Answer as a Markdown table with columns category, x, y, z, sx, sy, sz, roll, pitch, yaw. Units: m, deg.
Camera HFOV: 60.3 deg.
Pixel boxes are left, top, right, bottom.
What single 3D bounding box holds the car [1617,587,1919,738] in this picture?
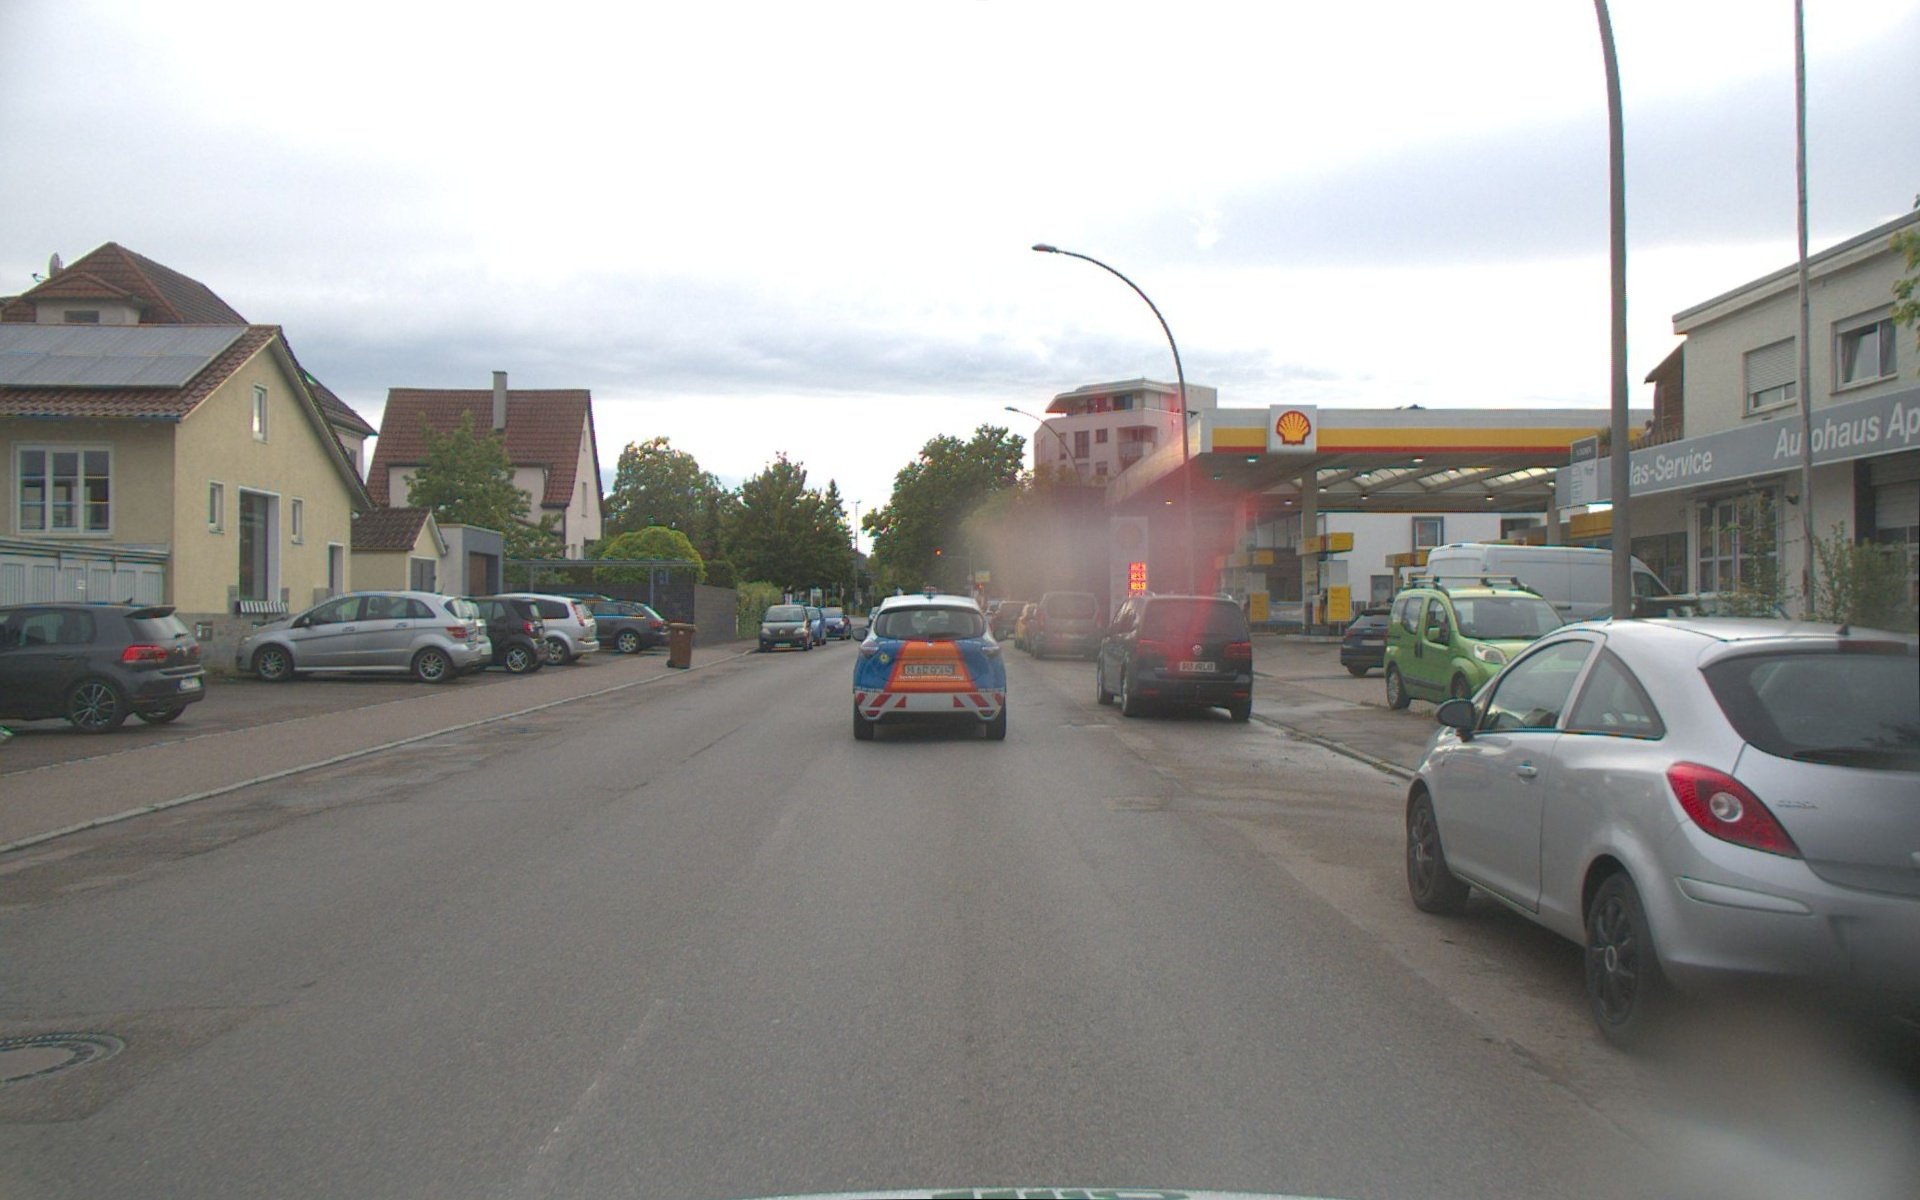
| category | x | y | z | sx | sy | sz | roll | pitch | yaw |
| --- | --- | --- | --- | --- | --- | --- | --- | --- | --- |
| car | 9.667 | 0.674 | 19.952 | 1.713 | 1.546 | 3.728 | -3 | 0 | -4 |

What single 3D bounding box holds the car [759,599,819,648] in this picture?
| category | x | y | z | sx | sy | sz | roll | pitch | yaw |
| --- | --- | --- | --- | --- | --- | --- | --- | --- | --- |
| car | -5.683 | 0.773 | 55.267 | 1.576 | 1.532 | 3.706 | -1 | 0 | 0 |

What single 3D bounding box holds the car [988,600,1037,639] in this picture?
| category | x | y | z | sx | sy | sz | roll | pitch | yaw |
| --- | --- | --- | --- | --- | --- | --- | --- | --- | --- |
| car | 2.410 | 0.878 | 76.688 | 2.048 | 1.691 | 4.558 | 1 | 1 | -1 |

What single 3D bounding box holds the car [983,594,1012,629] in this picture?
| category | x | y | z | sx | sy | sz | roll | pitch | yaw |
| --- | --- | --- | --- | --- | --- | --- | --- | --- | --- |
| car | 2.388 | 0.697 | 104.026 | 1.741 | 2.064 | 4.755 | 1 | 1 | 2 |

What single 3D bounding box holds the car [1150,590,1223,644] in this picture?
| category | x | y | z | sx | sy | sz | roll | pitch | yaw |
| --- | --- | --- | --- | --- | --- | --- | --- | --- | --- |
| car | 7.842 | 0.572 | 57.637 | 1.783 | 1.790 | 3.997 | 0 | 0 | -3 |

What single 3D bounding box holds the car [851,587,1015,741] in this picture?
| category | x | y | z | sx | sy | sz | roll | pitch | yaw |
| --- | --- | --- | --- | --- | --- | --- | --- | --- | --- |
| car | -0.303 | 0.663 | 19.440 | 1.710 | 1.609 | 4.000 | 0 | 0 | -1 |

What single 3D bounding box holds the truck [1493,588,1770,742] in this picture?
| category | x | y | z | sx | sy | sz | roll | pitch | yaw |
| --- | --- | --- | --- | --- | --- | --- | --- | --- | --- |
| truck | 7.183 | 0.668 | 17.861 | 2.500 | 1.556 | 1.327 | 1 | 0 | 7 |

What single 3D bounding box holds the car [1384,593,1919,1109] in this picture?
| category | x | y | z | sx | sy | sz | roll | pitch | yaw |
| --- | --- | --- | --- | --- | --- | --- | --- | --- | --- |
| car | 3.106 | 0.764 | 6.907 | 1.702 | 1.528 | 3.882 | 2 | 0 | 1 |

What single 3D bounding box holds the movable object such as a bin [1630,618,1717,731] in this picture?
| category | x | y | z | sx | sy | sz | roll | pitch | yaw |
| --- | --- | --- | --- | --- | --- | --- | --- | --- | --- |
| movable object such as a bin | 7.101 | 0.727 | 16.473 | 0.563 | 1.094 | 0.681 | 0 | 0 | -1 |

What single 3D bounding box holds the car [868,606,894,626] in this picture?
| category | x | y | z | sx | sy | sz | roll | pitch | yaw |
| --- | --- | --- | --- | --- | --- | --- | --- | --- | --- |
| car | -5.714 | 1.146 | 119.944 | 1.593 | 1.458 | 3.684 | 0 | 0 | 1 |

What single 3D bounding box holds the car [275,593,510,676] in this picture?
| category | x | y | z | sx | sy | sz | roll | pitch | yaw |
| --- | --- | --- | --- | --- | --- | --- | --- | --- | --- |
| car | -11.020 | 0.650 | 32.330 | 4.004 | 1.559 | 1.812 | 0 | 0 | -5 |

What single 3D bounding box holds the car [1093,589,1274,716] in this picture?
| category | x | y | z | sx | sy | sz | roll | pitch | yaw |
| --- | --- | --- | --- | --- | --- | --- | --- | --- | --- |
| car | 3.034 | 0.663 | 23.246 | 1.953 | 1.624 | 4.000 | 0 | 0 | -1 |

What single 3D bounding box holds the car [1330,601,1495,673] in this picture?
| category | x | y | z | sx | sy | sz | roll | pitch | yaw |
| --- | --- | --- | --- | --- | --- | --- | --- | --- | --- |
| car | 9.493 | 0.722 | 34.555 | 1.749 | 1.399 | 3.975 | 0 | 0 | 42 |

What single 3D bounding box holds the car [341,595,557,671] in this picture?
| category | x | y | z | sx | sy | sz | roll | pitch | yaw |
| --- | --- | --- | --- | --- | --- | --- | --- | --- | --- |
| car | -10.534 | 0.663 | 34.339 | 4.005 | 1.529 | 1.754 | 0 | 0 | -7 |

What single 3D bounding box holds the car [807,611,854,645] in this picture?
| category | x | y | z | sx | sy | sz | roll | pitch | yaw |
| --- | --- | --- | --- | --- | --- | --- | --- | --- | --- |
| car | -5.722 | 1.224 | 73.678 | 1.770 | 1.427 | 3.944 | -1 | 0 | 0 |

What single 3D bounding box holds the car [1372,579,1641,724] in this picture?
| category | x | y | z | sx | sy | sz | roll | pitch | yaw |
| --- | --- | --- | --- | --- | --- | --- | --- | --- | --- |
| car | 7.001 | 0.604 | 21.671 | 1.954 | 1.712 | 3.996 | 0 | 0 | -5 |

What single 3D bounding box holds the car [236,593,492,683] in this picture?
| category | x | y | z | sx | sy | sz | roll | pitch | yaw |
| --- | --- | --- | --- | --- | --- | --- | --- | --- | --- |
| car | -10.742 | 0.658 | 30.077 | 4.005 | 1.559 | 1.997 | 0 | 0 | -7 |

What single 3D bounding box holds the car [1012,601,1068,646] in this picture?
| category | x | y | z | sx | sy | sz | roll | pitch | yaw |
| --- | --- | --- | --- | --- | --- | --- | --- | --- | --- |
| car | 2.629 | 0.770 | 55.247 | 1.622 | 1.426 | 3.800 | 0 | 0 | -1 |

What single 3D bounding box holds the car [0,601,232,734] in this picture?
| category | x | y | z | sx | sy | sz | roll | pitch | yaw |
| --- | --- | --- | --- | --- | --- | --- | --- | --- | --- |
| car | -10.847 | 0.764 | 19.433 | 3.795 | 1.463 | 1.767 | 0 | 0 | -2 |

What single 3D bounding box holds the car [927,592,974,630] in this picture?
| category | x | y | z | sx | sy | sz | roll | pitch | yaw |
| --- | --- | --- | --- | --- | --- | --- | --- | --- | --- |
| car | -0.406 | 0.475 | 74.998 | 1.952 | 1.601 | 4.001 | 1 | 1 | 2 |

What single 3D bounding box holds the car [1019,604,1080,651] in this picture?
| category | x | y | z | sx | sy | sz | roll | pitch | yaw |
| --- | --- | --- | --- | --- | --- | --- | --- | --- | --- |
| car | 2.739 | 0.822 | 51.187 | 1.622 | 1.400 | 4.024 | 0 | 0 | -1 |

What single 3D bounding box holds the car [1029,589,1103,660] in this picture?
| category | x | y | z | sx | sy | sz | roll | pitch | yaw |
| --- | --- | --- | --- | --- | --- | --- | --- | --- | --- |
| car | 2.833 | 0.634 | 44.995 | 1.622 | 1.768 | 4.443 | 2 | 0 | -1 |

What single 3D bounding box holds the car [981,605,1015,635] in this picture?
| category | x | y | z | sx | sy | sz | roll | pitch | yaw |
| --- | --- | --- | --- | --- | --- | --- | --- | --- | --- |
| car | 2.245 | 1.182 | 97.970 | 1.828 | 1.694 | 4.319 | 1 | 0 | -1 |

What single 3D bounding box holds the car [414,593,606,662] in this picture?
| category | x | y | z | sx | sy | sz | roll | pitch | yaw |
| --- | --- | --- | --- | --- | --- | --- | --- | --- | --- |
| car | -10.314 | 0.616 | 38.177 | 4.005 | 1.540 | 1.881 | 0 | 0 | -7 |

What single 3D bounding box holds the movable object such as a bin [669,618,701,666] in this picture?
| category | x | y | z | sx | sy | sz | roll | pitch | yaw |
| --- | --- | --- | --- | --- | --- | --- | --- | --- | --- |
| movable object such as a bin | -6.717 | 1.020 | 40.424 | 0.583 | 1.075 | 0.687 | 5 | 1 | -1 |

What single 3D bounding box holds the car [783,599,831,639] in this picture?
| category | x | y | z | sx | sy | sz | roll | pitch | yaw |
| --- | --- | --- | --- | --- | --- | --- | --- | --- | --- |
| car | -5.823 | 0.714 | 63.283 | 1.514 | 1.427 | 3.596 | -1 | 0 | 0 |

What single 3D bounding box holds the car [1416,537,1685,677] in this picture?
| category | x | y | z | sx | sy | sz | roll | pitch | yaw |
| --- | --- | --- | --- | --- | --- | --- | --- | --- | --- |
| car | 11.544 | 0.120 | 32.343 | 4.723 | 2.565 | 2.232 | 0 | 0 | -23 |

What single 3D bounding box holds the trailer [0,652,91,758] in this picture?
| category | x | y | z | sx | sy | sz | roll | pitch | yaw |
| --- | --- | --- | --- | --- | --- | --- | --- | --- | --- |
| trailer | -11.380 | 1.048 | 16.820 | 4.113 | 0.959 | 1.793 | 0 | 0 | -3 |

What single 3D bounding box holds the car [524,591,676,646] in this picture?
| category | x | y | z | sx | sy | sz | roll | pitch | yaw |
| --- | --- | --- | --- | --- | --- | --- | --- | --- | --- |
| car | -10.045 | 0.507 | 46.391 | 4.007 | 1.438 | 1.711 | 1 | 0 | -8 |

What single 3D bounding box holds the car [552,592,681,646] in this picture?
| category | x | y | z | sx | sy | sz | roll | pitch | yaw |
| --- | --- | --- | --- | --- | --- | --- | --- | --- | --- |
| car | -10.194 | 0.560 | 49.301 | 3.515 | 1.482 | 1.755 | 2 | -1 | -5 |
